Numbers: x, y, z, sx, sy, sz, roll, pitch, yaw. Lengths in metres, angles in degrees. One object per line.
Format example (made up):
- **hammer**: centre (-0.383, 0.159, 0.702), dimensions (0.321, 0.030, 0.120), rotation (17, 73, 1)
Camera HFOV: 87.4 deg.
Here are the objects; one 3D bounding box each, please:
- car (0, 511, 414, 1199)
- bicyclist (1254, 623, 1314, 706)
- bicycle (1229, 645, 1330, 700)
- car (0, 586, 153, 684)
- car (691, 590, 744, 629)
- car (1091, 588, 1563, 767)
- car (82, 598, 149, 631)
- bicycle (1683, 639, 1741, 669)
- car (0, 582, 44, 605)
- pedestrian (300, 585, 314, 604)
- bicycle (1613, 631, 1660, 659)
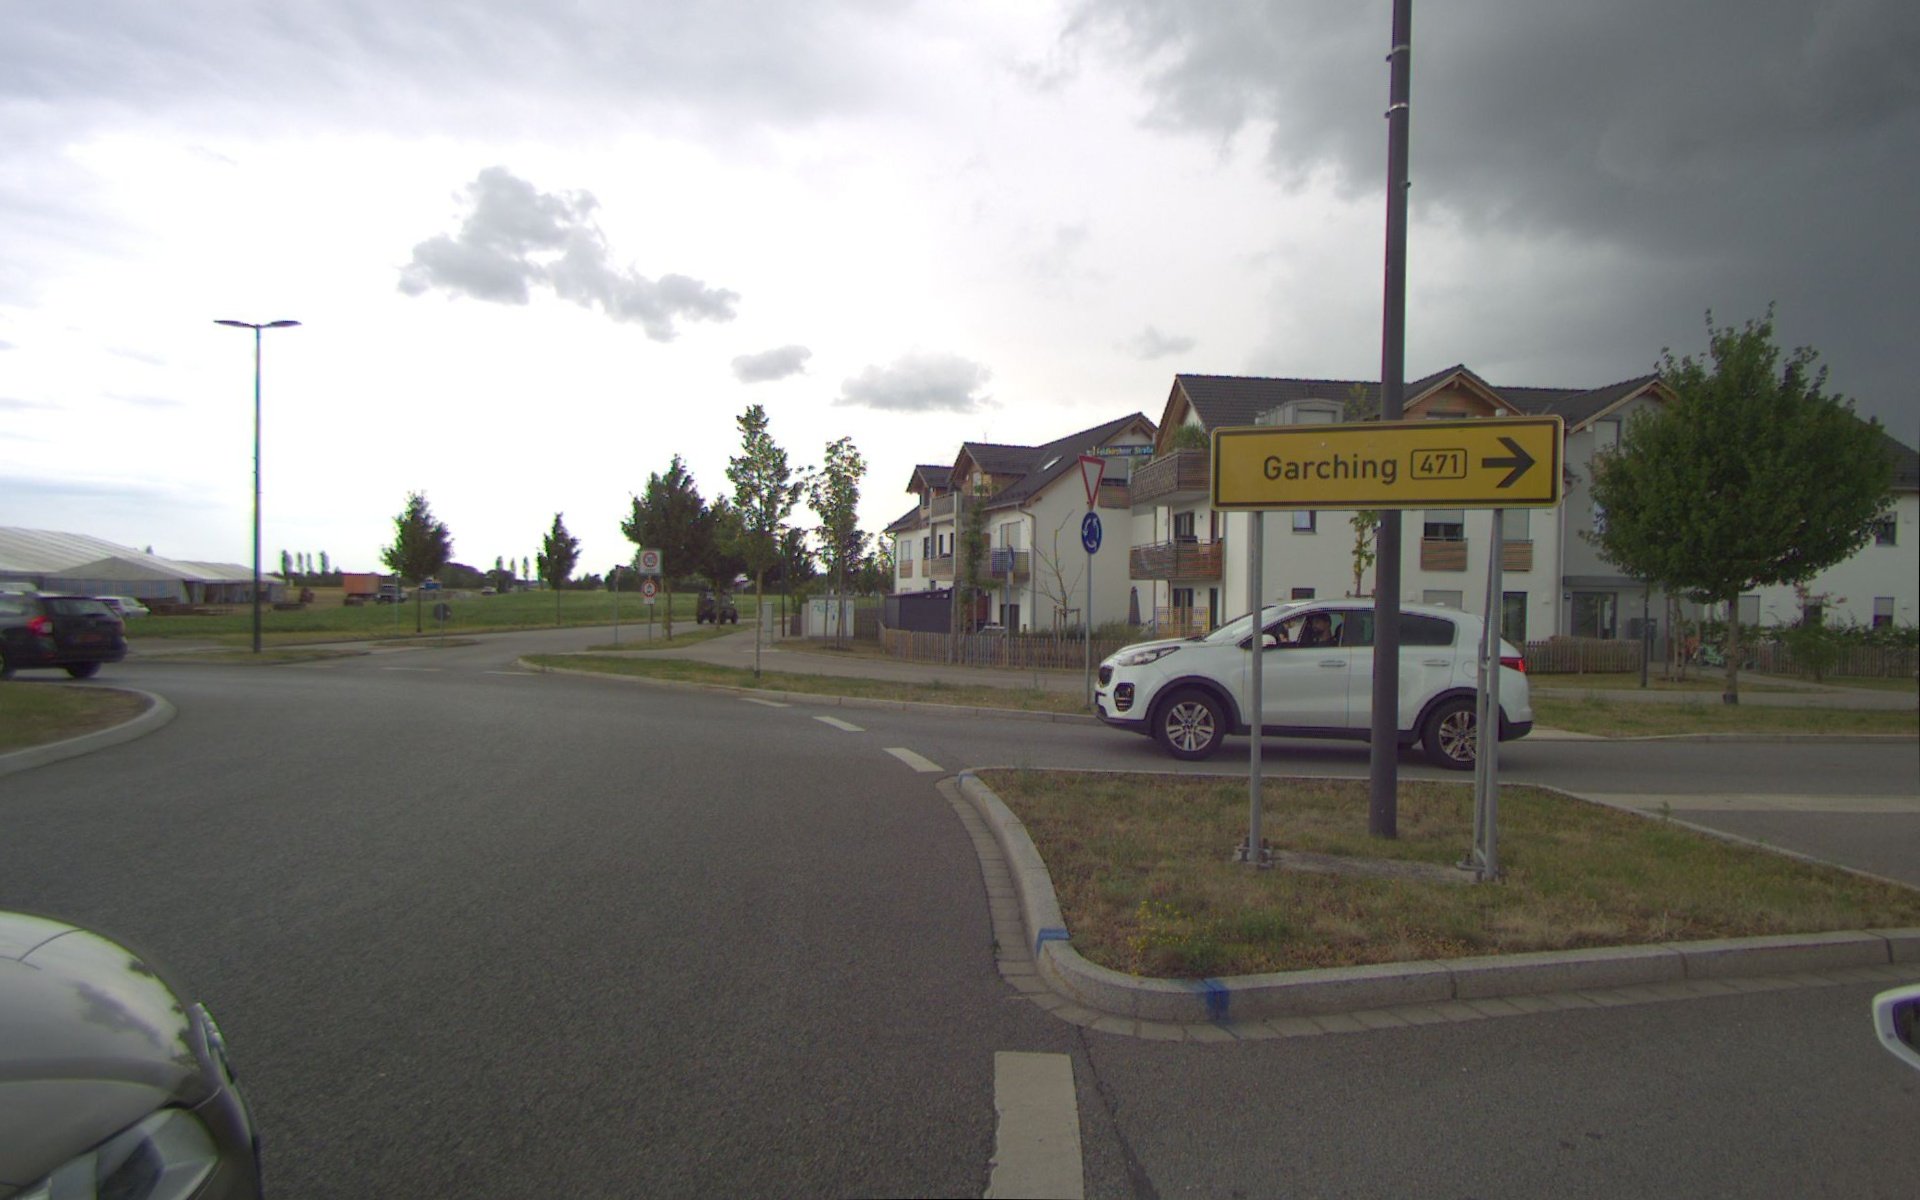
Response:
- **car**: centre (-2.884, 0.585, 0.237), dimensions (1.758, 1.484, 4.514), rotation (2, 0, 43)
- **bicyclist**: centre (5.863, 1.157, 18.204), dimensions (0.852, 1.466, 0.725), rotation (1, -1, 0)
- **bicycle**: centre (5.784, 1.307, 18.222), dimensions (1.680, 0.959, 0.497), rotation (1, -1, 1)
- **car**: centre (-16.875, 0.563, 17.669), dimensions (4.192, 1.584, 1.775), rotation (1, -1, 9)
- **car**: centre (-15.624, 0.571, 64.949), dimensions (1.960, 2.284, 4.572), rotation (2, 2, 6)
- **car**: centre (3.670, 0.767, 10.624), dimensions (4.362, 1.647, 1.714), rotation (1, -1, 1)
- **car**: centre (-43.847, 0.725, 52.232), dimensions (1.709, 1.574, 3.973), rotation (1, 0, -26)
- **bicycle**: centre (22.641, 1.623, 30.239), dimensions (1.517, 0.855, 0.368), rotation (1, 3, -5)
- **car**: centre (-69.764, -0.485, 74.202), dimensions (1.808, 1.628, 3.809), rotation (1, 1, -22)
- **pedestrian**: centre (-72.926, -0.646, 112.169), dimensions (1.035, 2.041, 1.056), rotation (1, 1, -18)
- **bicycle**: centre (22.266, 1.469, 33.060), dimensions (1.312, 0.855, 0.368), rotation (1, 3, -5)
